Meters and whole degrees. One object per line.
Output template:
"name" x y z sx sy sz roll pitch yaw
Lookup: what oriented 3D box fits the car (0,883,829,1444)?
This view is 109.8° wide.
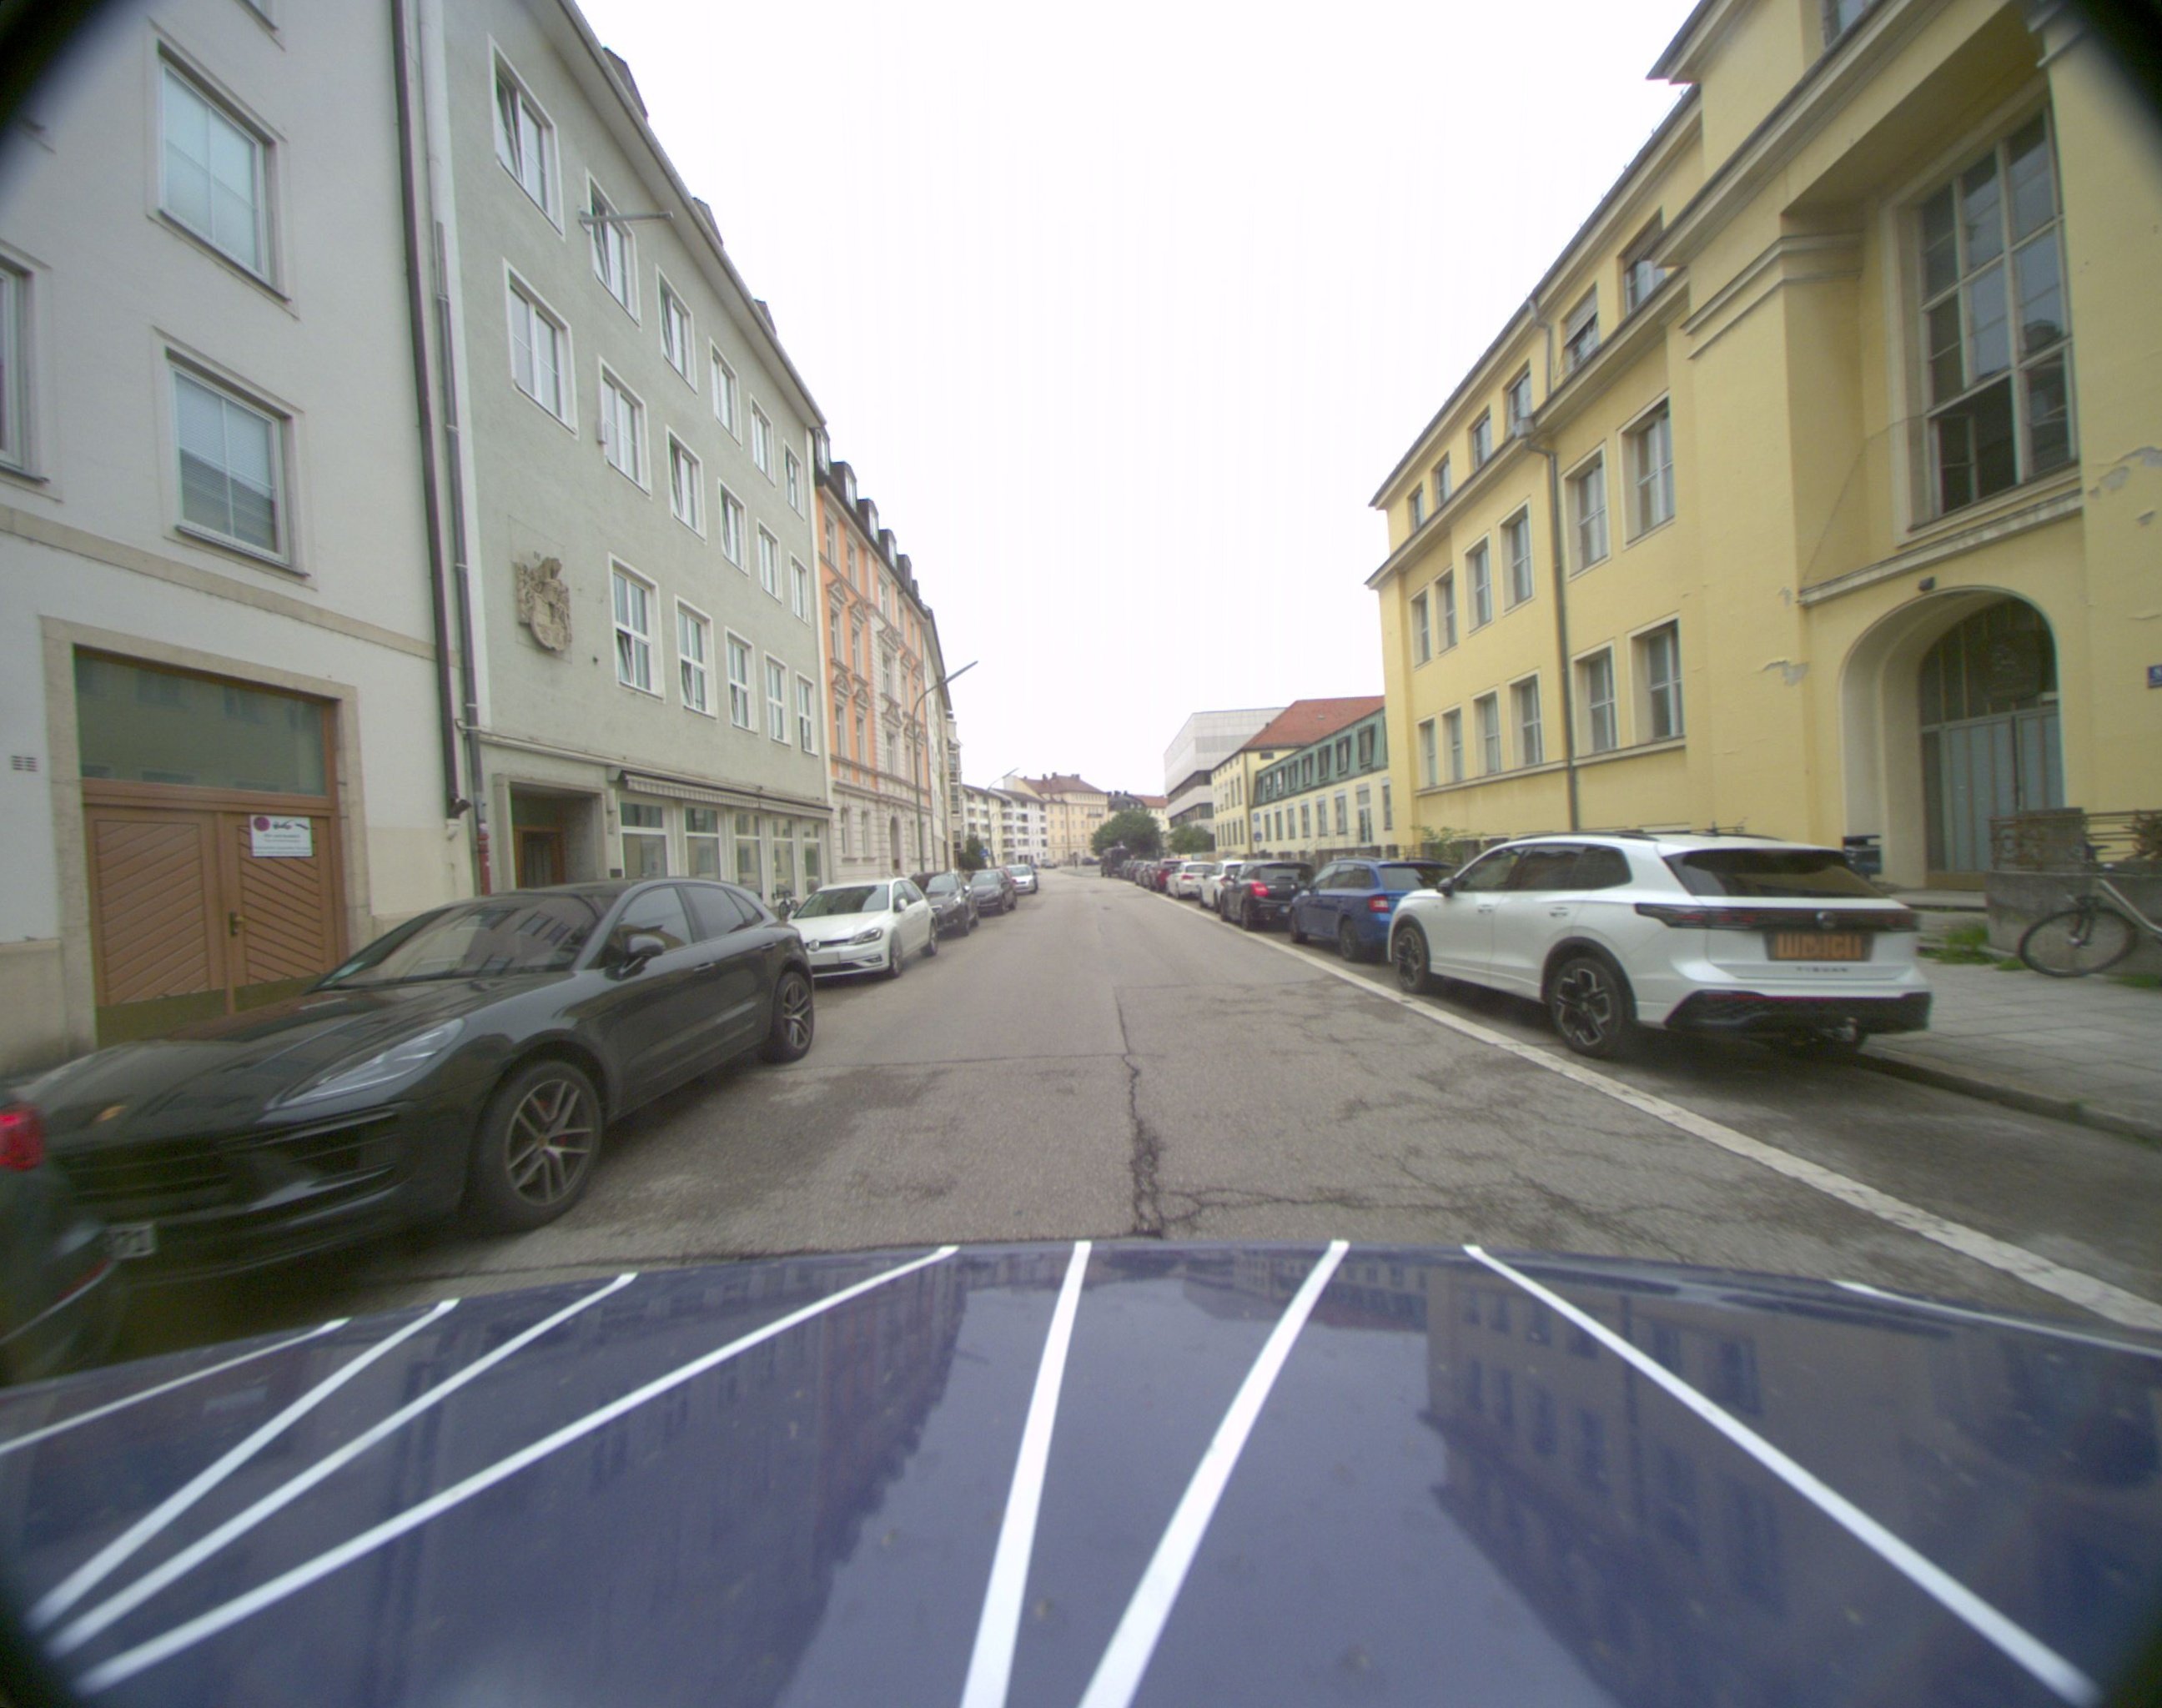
"car" -3.333 1.113 4.691 1.831 1.572 4.491 -4 0 2

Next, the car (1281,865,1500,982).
"car" 4.462 0.919 11.635 1.611 1.438 3.916 1 0 -2

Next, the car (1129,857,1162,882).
"car" 4.677 1.104 55.598 1.998 1.631 4.210 -2 0 0

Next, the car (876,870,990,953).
"car" -3.391 1.260 18.187 1.768 1.531 4.000 -5 0 1

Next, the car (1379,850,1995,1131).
"car" 4.414 0.816 6.607 1.786 1.631 4.299 1 0 -2

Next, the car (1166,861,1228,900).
"car" 4.453 0.983 29.609 1.816 1.389 4.020 0 0 0

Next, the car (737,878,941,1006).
"car" -3.516 1.201 11.938 1.745 1.421 4.181 -4 0 0

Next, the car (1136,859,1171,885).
"car" 4.279 1.031 45.277 1.673 1.419 3.947 -2 0 0

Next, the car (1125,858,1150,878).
"car" 4.496 1.101 60.582 1.673 1.509 3.947 -2 0 0

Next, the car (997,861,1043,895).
"car" -3.226 1.255 41.154 2.001 1.563 4.491 -5 0 0

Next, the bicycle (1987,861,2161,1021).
"bicycle" 8.498 0.666 5.981 0.585 1.181 1.766 -3 0 1

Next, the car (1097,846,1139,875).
"car" 3.402 0.595 71.960 2.848 2.536 6.889 -2 0 -6

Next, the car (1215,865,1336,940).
"car" 4.146 0.972 16.785 1.738 1.431 3.779 0 0 0

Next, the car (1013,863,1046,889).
"car" -3.138 1.296 46.541 1.673 1.419 3.947 -2 0 1

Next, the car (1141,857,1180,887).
"car" 4.218 0.920 40.856 1.673 1.509 3.947 -2 0 0

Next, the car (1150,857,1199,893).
"car" 4.266 0.924 35.357 1.774 1.545 4.210 0 0 0

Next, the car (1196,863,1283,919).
"car" 4.495 0.989 22.067 1.690 1.438 4.112 0 0 0

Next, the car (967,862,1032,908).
"car" -3.293 1.220 31.641 2.001 1.563 4.491 -5 0 1

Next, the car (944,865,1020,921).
"car" -3.130 1.194 24.830 1.725 1.457 4.193 -5 0 2
